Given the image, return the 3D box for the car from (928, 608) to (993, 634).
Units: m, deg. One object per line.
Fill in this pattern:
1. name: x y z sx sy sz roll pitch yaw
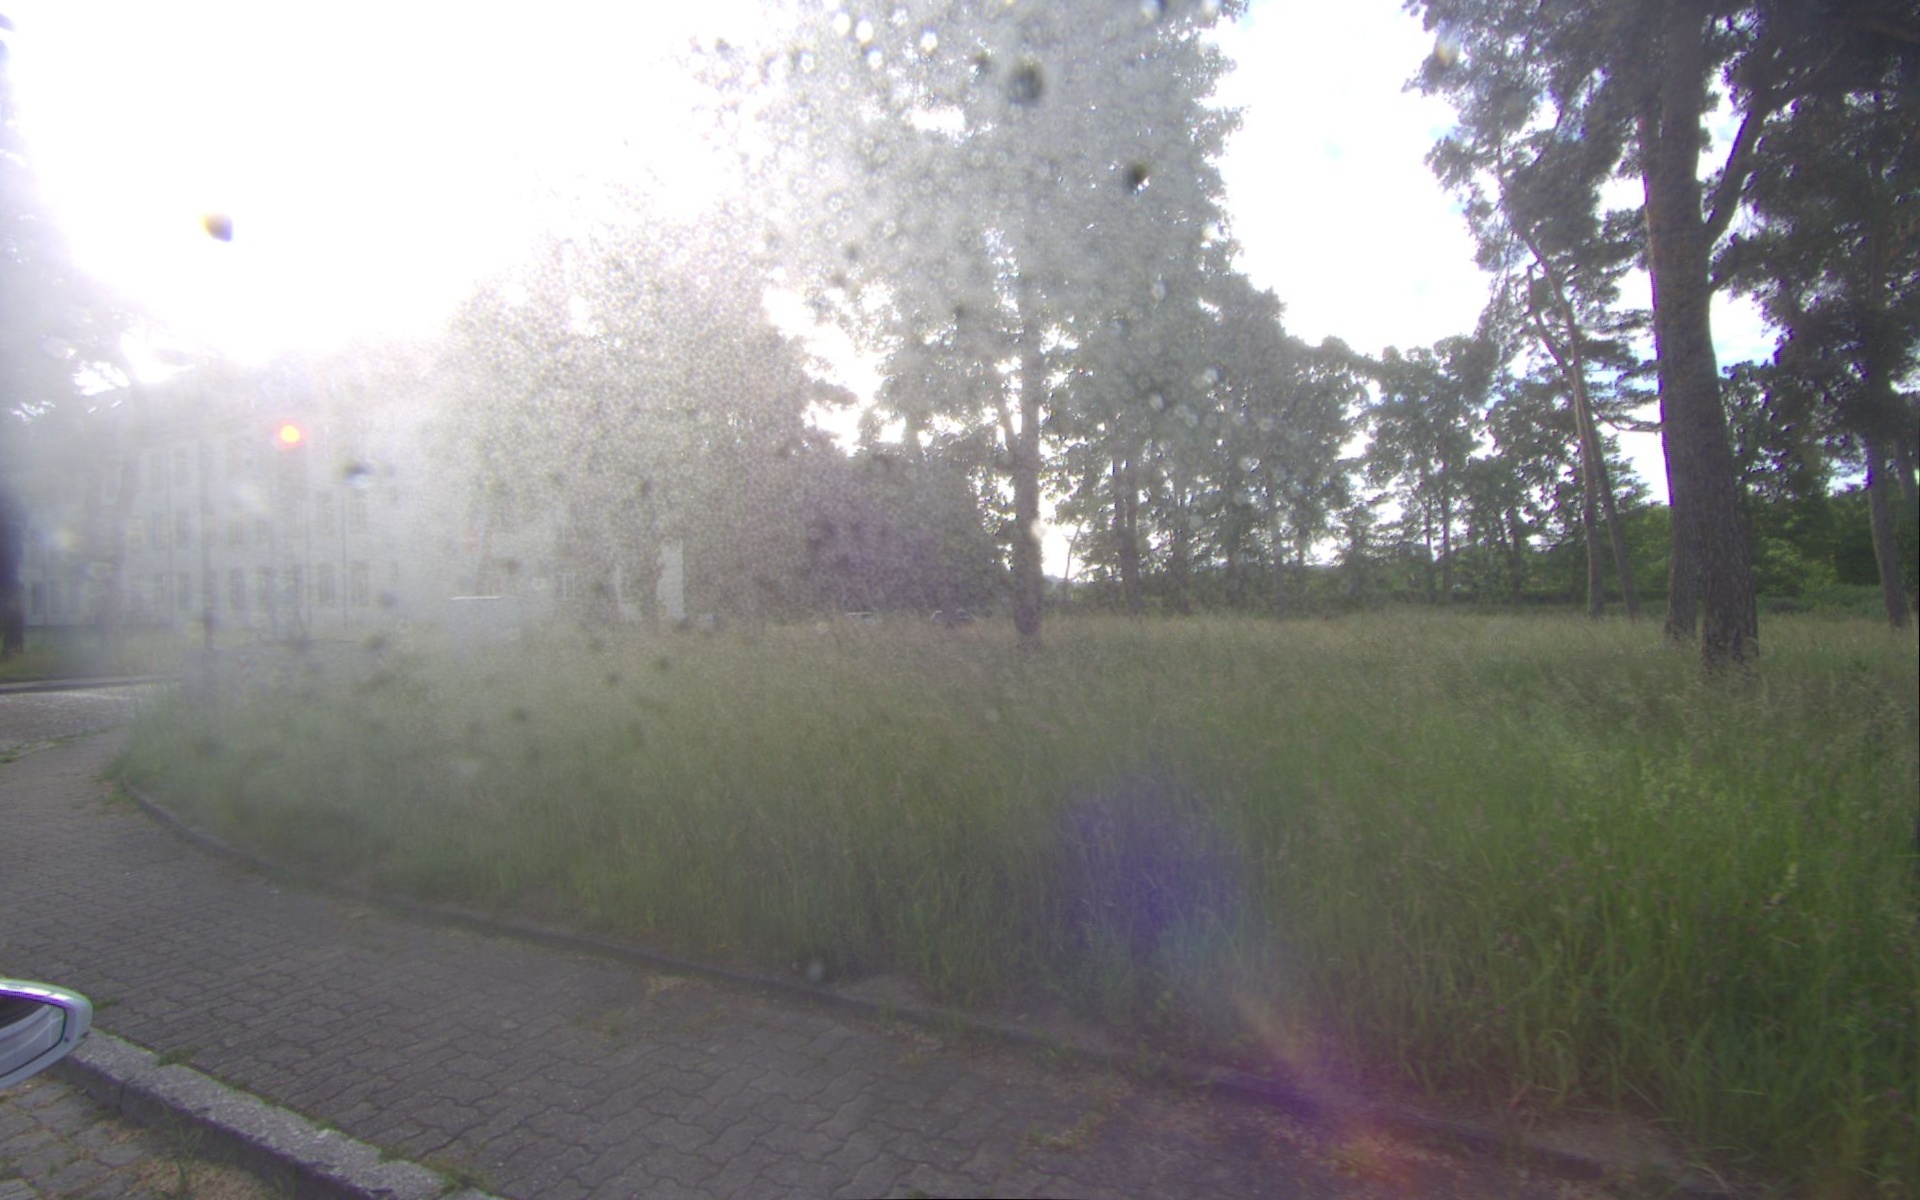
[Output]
1. car: -0.007 1.326 63.855 3.924 1.622 1.999 -1 0 -8

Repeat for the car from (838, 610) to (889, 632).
1. car: -6.614 1.480 68.926 1.540 1.415 3.985 -1 -3 29

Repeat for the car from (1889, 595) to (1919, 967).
1. car: 3.831 0.710 2.202 1.616 1.490 3.840 -1 0 27
